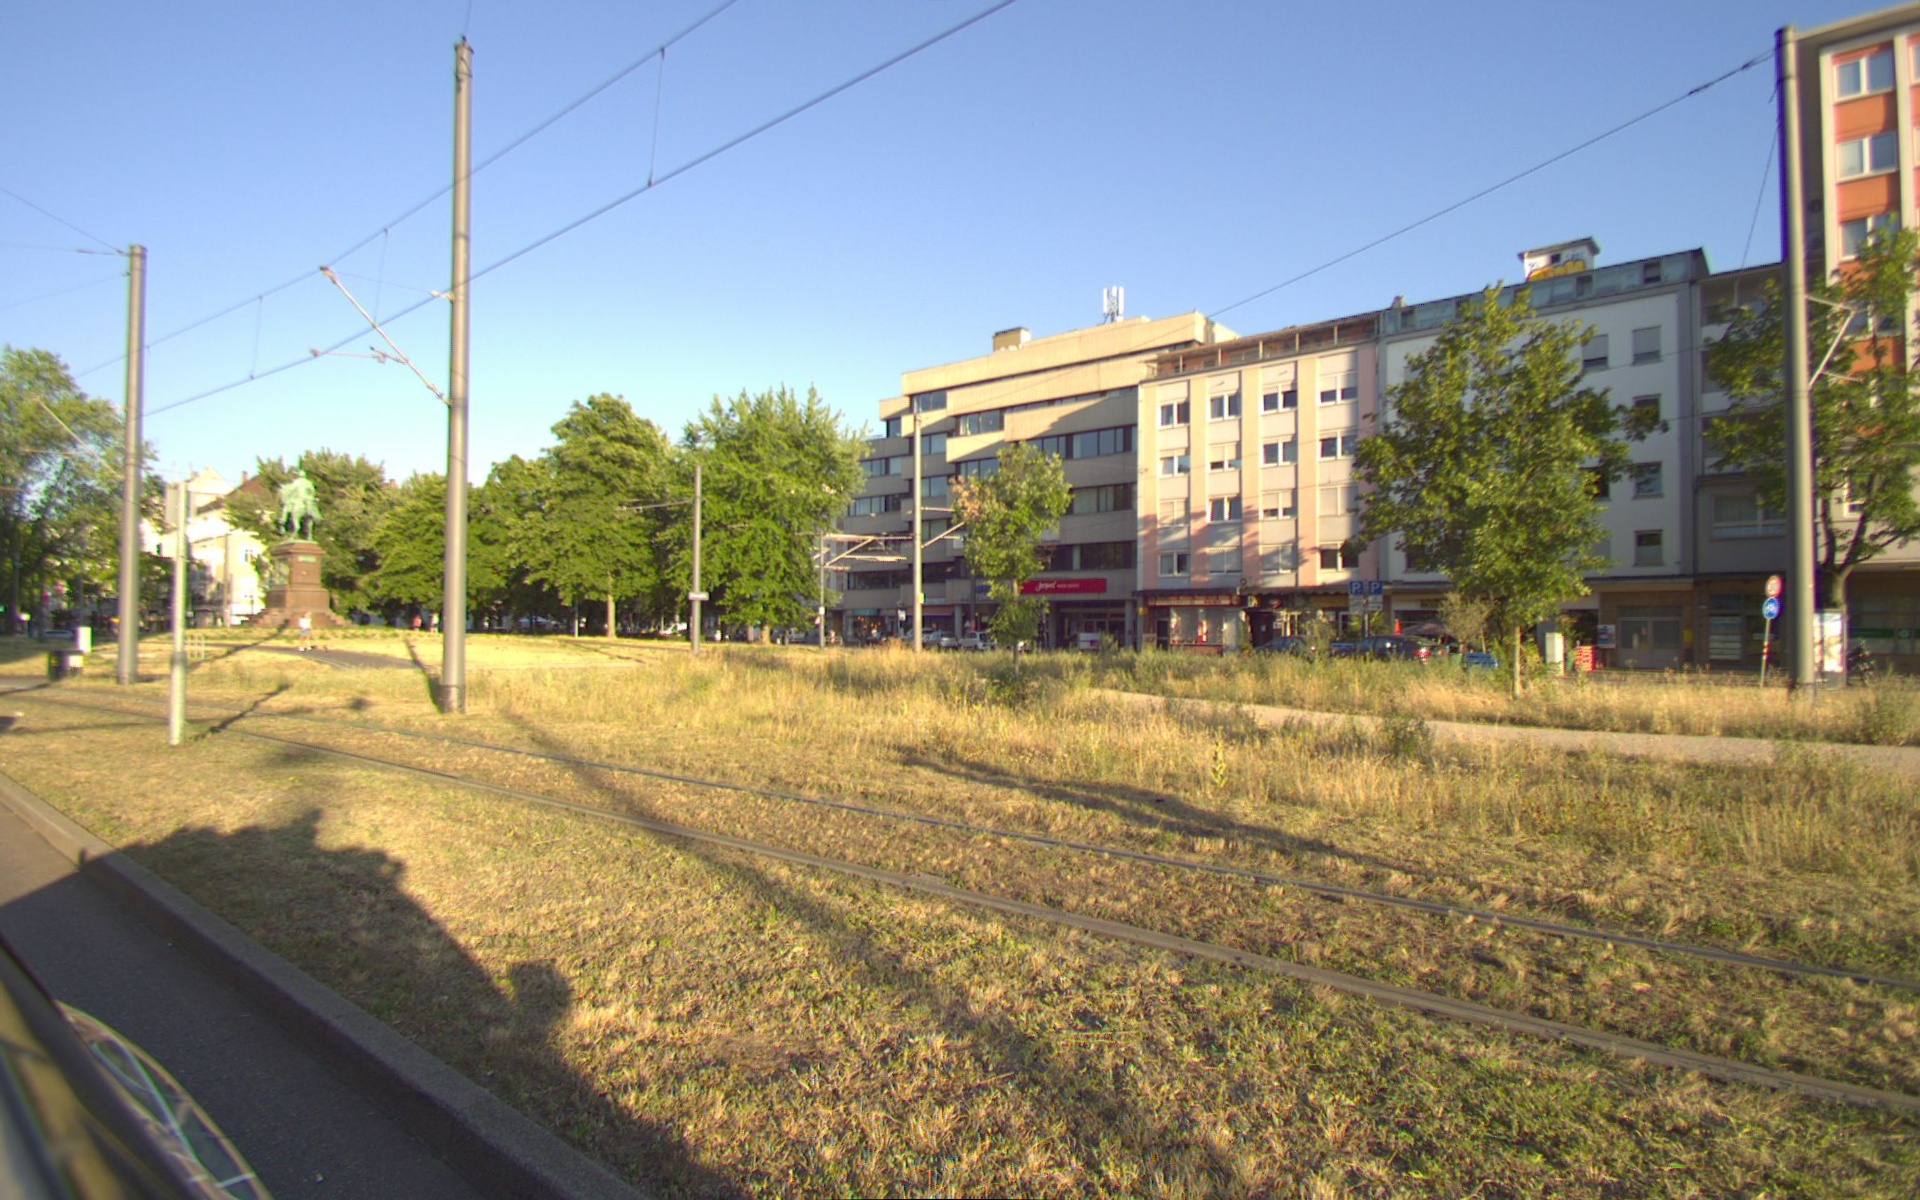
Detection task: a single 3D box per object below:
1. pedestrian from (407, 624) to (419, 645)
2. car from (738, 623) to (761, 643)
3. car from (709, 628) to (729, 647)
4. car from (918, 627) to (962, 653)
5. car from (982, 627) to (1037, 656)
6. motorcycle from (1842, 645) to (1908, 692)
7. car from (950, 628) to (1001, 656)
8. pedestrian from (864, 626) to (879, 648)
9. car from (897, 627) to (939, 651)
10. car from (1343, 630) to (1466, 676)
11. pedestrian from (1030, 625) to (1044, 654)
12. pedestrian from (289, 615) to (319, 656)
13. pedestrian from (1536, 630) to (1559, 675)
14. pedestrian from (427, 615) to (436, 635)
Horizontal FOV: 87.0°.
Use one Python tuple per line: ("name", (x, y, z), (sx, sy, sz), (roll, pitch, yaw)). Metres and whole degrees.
("pedestrian", (-45.907, 2.889, 84.900), (0.635, 1.682, 0.702), (-1, -2, 41))
("car", (-23.556, 3.666, 113.182), (1.966, 2.029, 4.012), (-1, 0, -18))
("car", (-27.747, 4.319, 116.447), (1.966, 2.029, 4.012), (-1, 0, -18))
("car", (-1.533, 3.011, 77.057), (1.965, 1.893, 4.013), (1, -2, -23))
("car", (3.208, 2.714, 66.884), (1.892, 1.878, 4.013), (1, -2, -27))
("motorcycle", (26.585, 1.982, 29.415), (1.390, 1.328, 0.376), (-2, -2, 43))
("car", (1.074, 2.943, 71.562), (1.965, 1.893, 4.013), (1, -2, -27))
("pedestrian", (-8.109, 3.379, 92.711), (0.892, 2.051, 1.123), (-2, -2, 43))
("car", (-3.458, 3.131, 81.964), (1.965, 1.951, 4.013), (1, -2, -25))
("car", (17.264, 2.026, 39.514), (1.965, 1.697, 4.012), (1, -2, -28))
("pedestrian", (5.209, 2.633, 68.357), (0.700, 1.949, 0.683), (-2, -2, 41))
("pedestrian", (-28.265, 1.527, 43.621), (0.797, 1.741, 0.880), (-2, -2, 41))
("pedestrian", (23.862, 2.118, 41.090), (0.704, 1.806, 0.587), (-2, -2, 41))
("pedestrian", (-44.696, 2.096, 85.616), (0.512, 1.707, 0.528), (-1, -2, 41))
